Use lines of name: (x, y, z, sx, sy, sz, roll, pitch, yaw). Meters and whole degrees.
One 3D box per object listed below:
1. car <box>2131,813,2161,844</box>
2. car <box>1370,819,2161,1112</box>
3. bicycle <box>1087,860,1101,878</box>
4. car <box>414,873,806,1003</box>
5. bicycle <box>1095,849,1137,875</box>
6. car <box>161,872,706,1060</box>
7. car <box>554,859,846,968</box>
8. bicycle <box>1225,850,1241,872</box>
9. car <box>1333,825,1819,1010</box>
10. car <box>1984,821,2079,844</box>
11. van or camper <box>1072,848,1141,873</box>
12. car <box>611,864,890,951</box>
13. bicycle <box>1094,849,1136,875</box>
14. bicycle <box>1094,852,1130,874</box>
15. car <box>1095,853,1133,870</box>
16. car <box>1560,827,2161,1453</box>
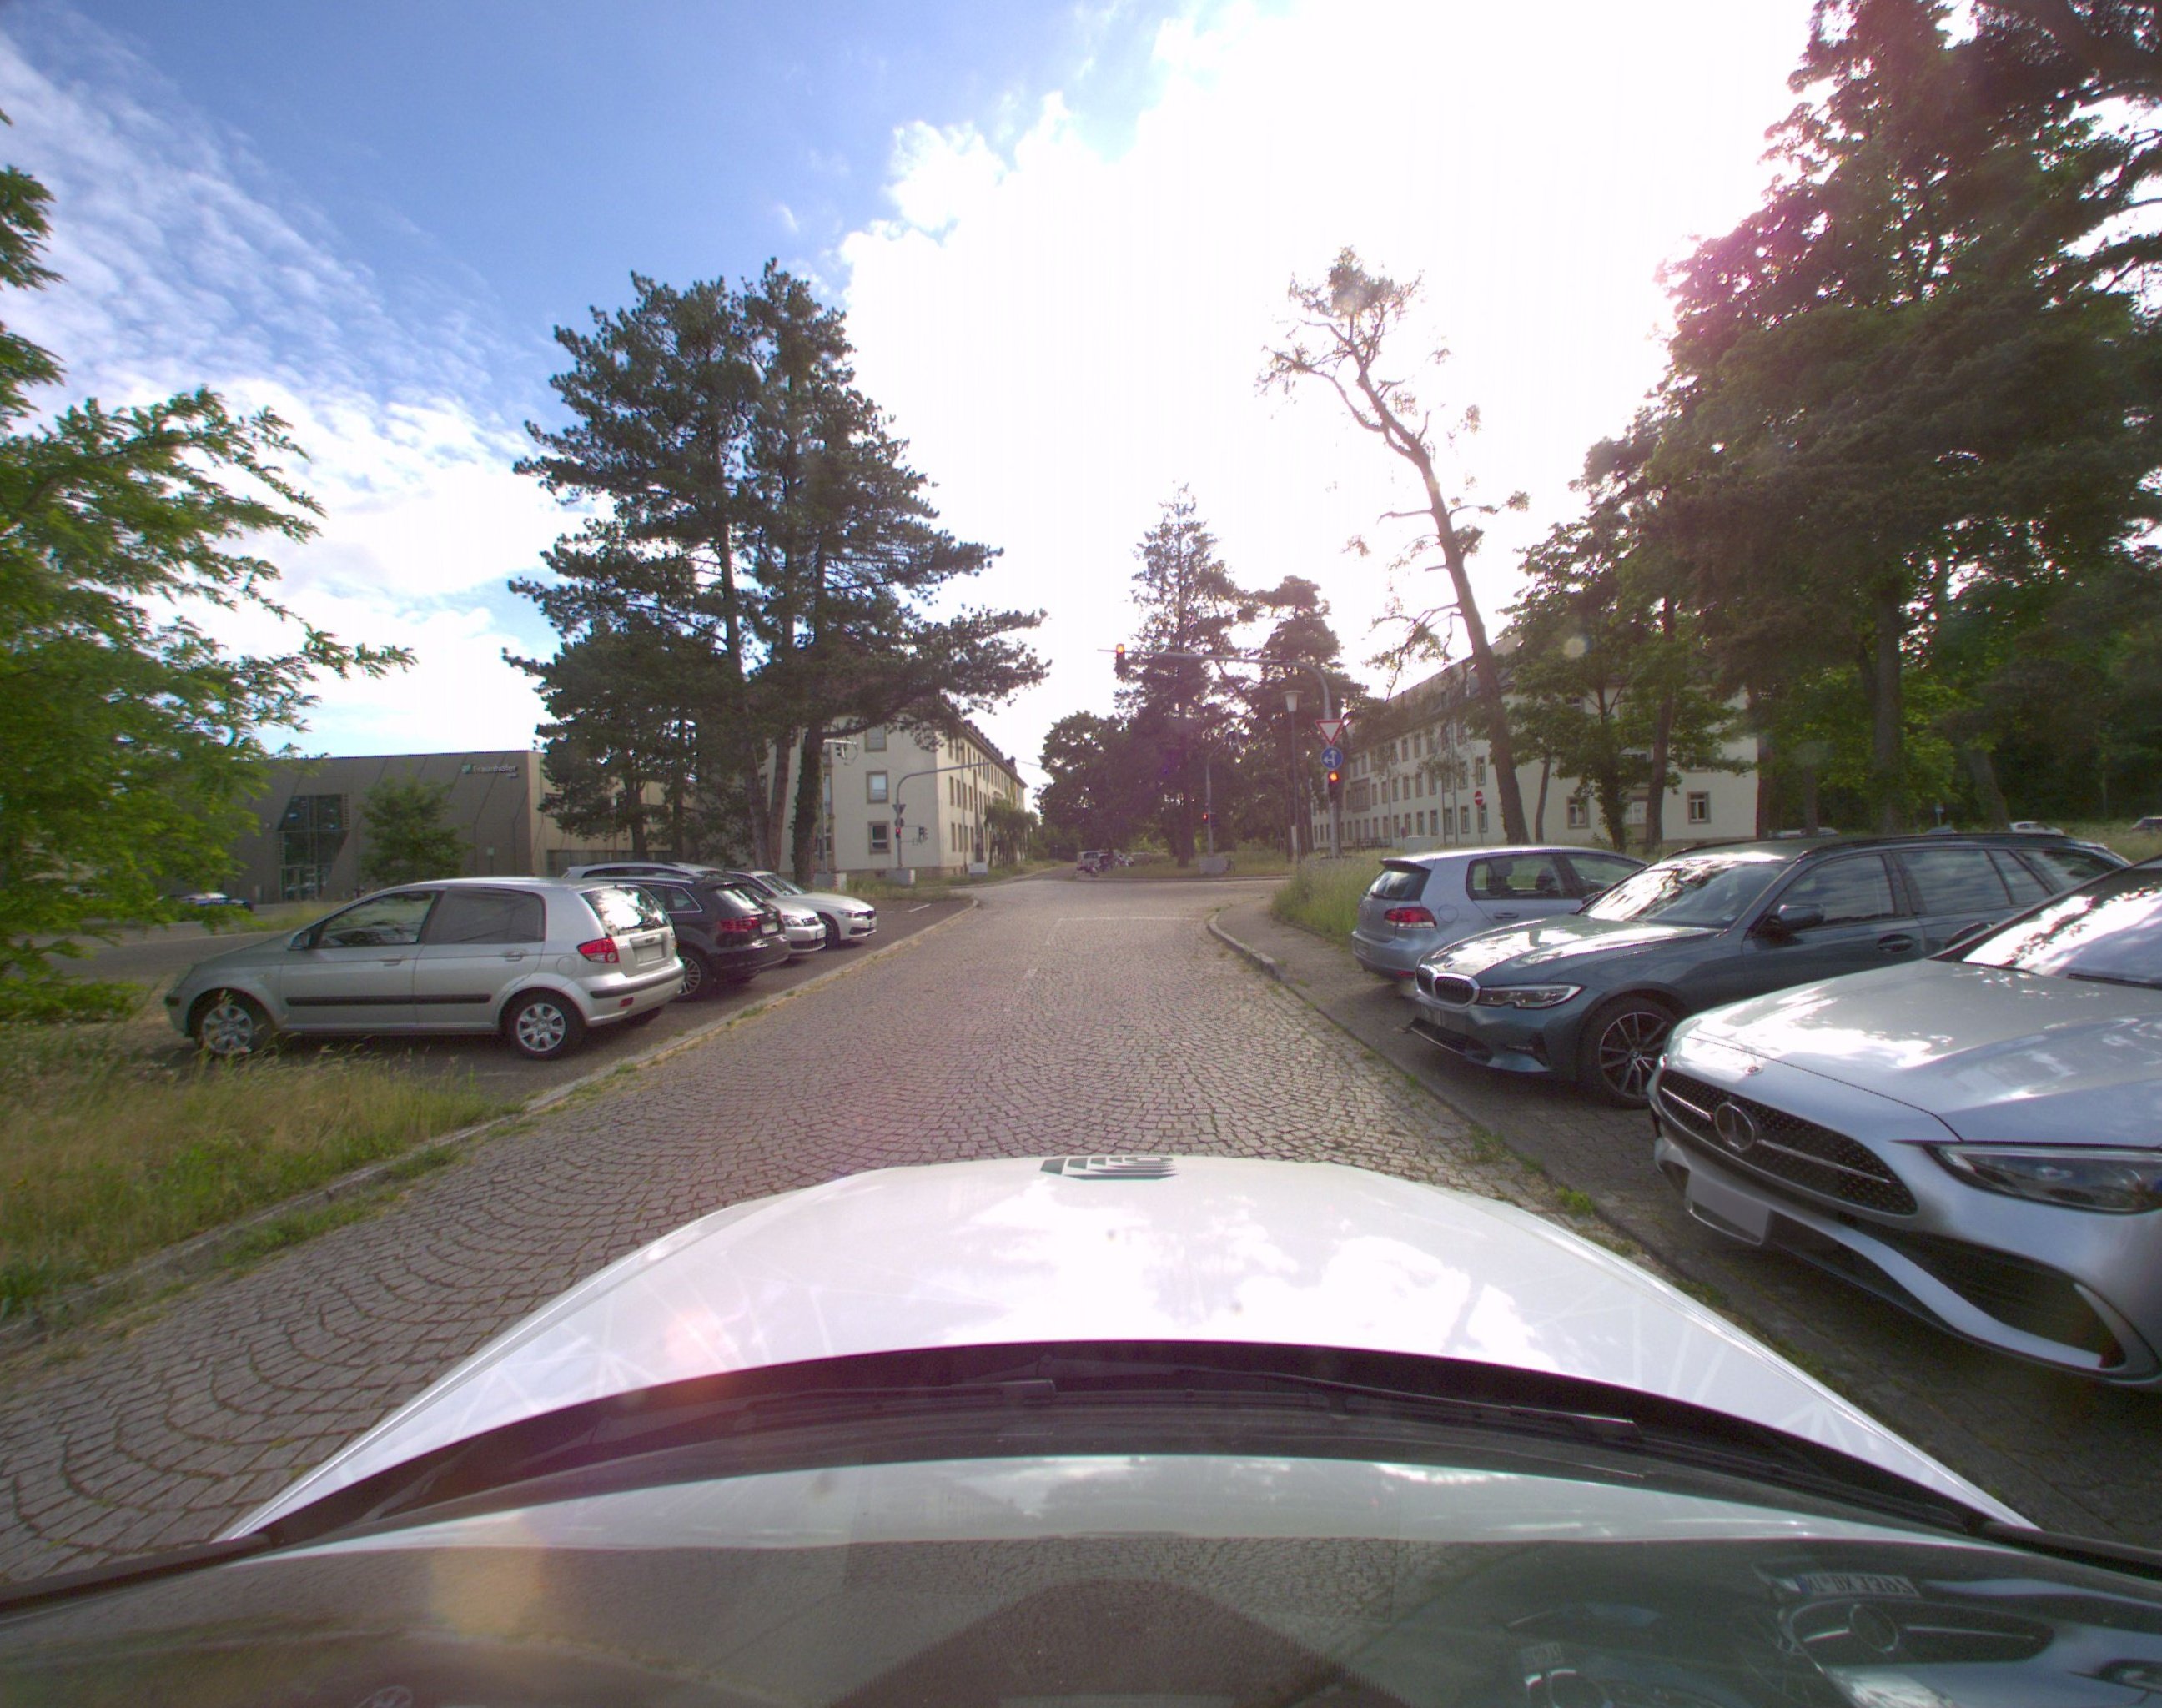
car: (56.975, -1.380, 41.636, 2.009, 1.600, 3.956, -2, 0, -36)
car: (4.555, 0.615, 5.559, 4.500, 1.483, 1.806, -2, 0, -2)
bicycle: (0.859, 0.957, 53.002, 0.723, 1.107, 2.463, -7, -1, 3)
car: (-5.612, 0.968, 10.061, 3.823, 1.408, 1.695, 0, 0, 0)
bicycle: (2.429, 0.536, 57.267, 2.771, 1.694, 1.118, -2, 0, -5)
car: (-5.598, 0.930, 7.416, 3.566, 1.476, 1.646, 0, 0, -2)
car: (-5.911, 0.893, 13.007, 3.821, 1.607, 1.734, 0, 0, -2)
bicycle: (8.478, 0.383, 45.391, 0.720, 1.169, 2.743, -1, 0, 8)
car: (4.718, 0.573, 8.167, 3.830, 1.471, 1.642, -3, 0, 0)
car: (58.298, -1.296, 49.989, 3.973, 1.398, 1.564, 0, 0, 1)
van or camper: (2.317, 0.594, 75.244, 6.038, 1.948, 1.991, -2, 0, -13)
car: (-6.052, 0.965, 15.348, 4.467, 1.442, 1.828, 1, 0, -3)
bicycle: (2.433, 0.566, 58.461, 2.772, 1.694, 1.118, -2, 0, -7)
bicycle: (2.413, 0.659, 63.366, 2.764, 1.694, 1.121, 0, 0, 2)
car: (2.864, 0.685, 71.659, 3.132, 1.354, 1.617, -2, 0, -5)
car: (4.386, 0.622, 2.878, 4.312, 1.428, 1.767, -3, 0, 0)
